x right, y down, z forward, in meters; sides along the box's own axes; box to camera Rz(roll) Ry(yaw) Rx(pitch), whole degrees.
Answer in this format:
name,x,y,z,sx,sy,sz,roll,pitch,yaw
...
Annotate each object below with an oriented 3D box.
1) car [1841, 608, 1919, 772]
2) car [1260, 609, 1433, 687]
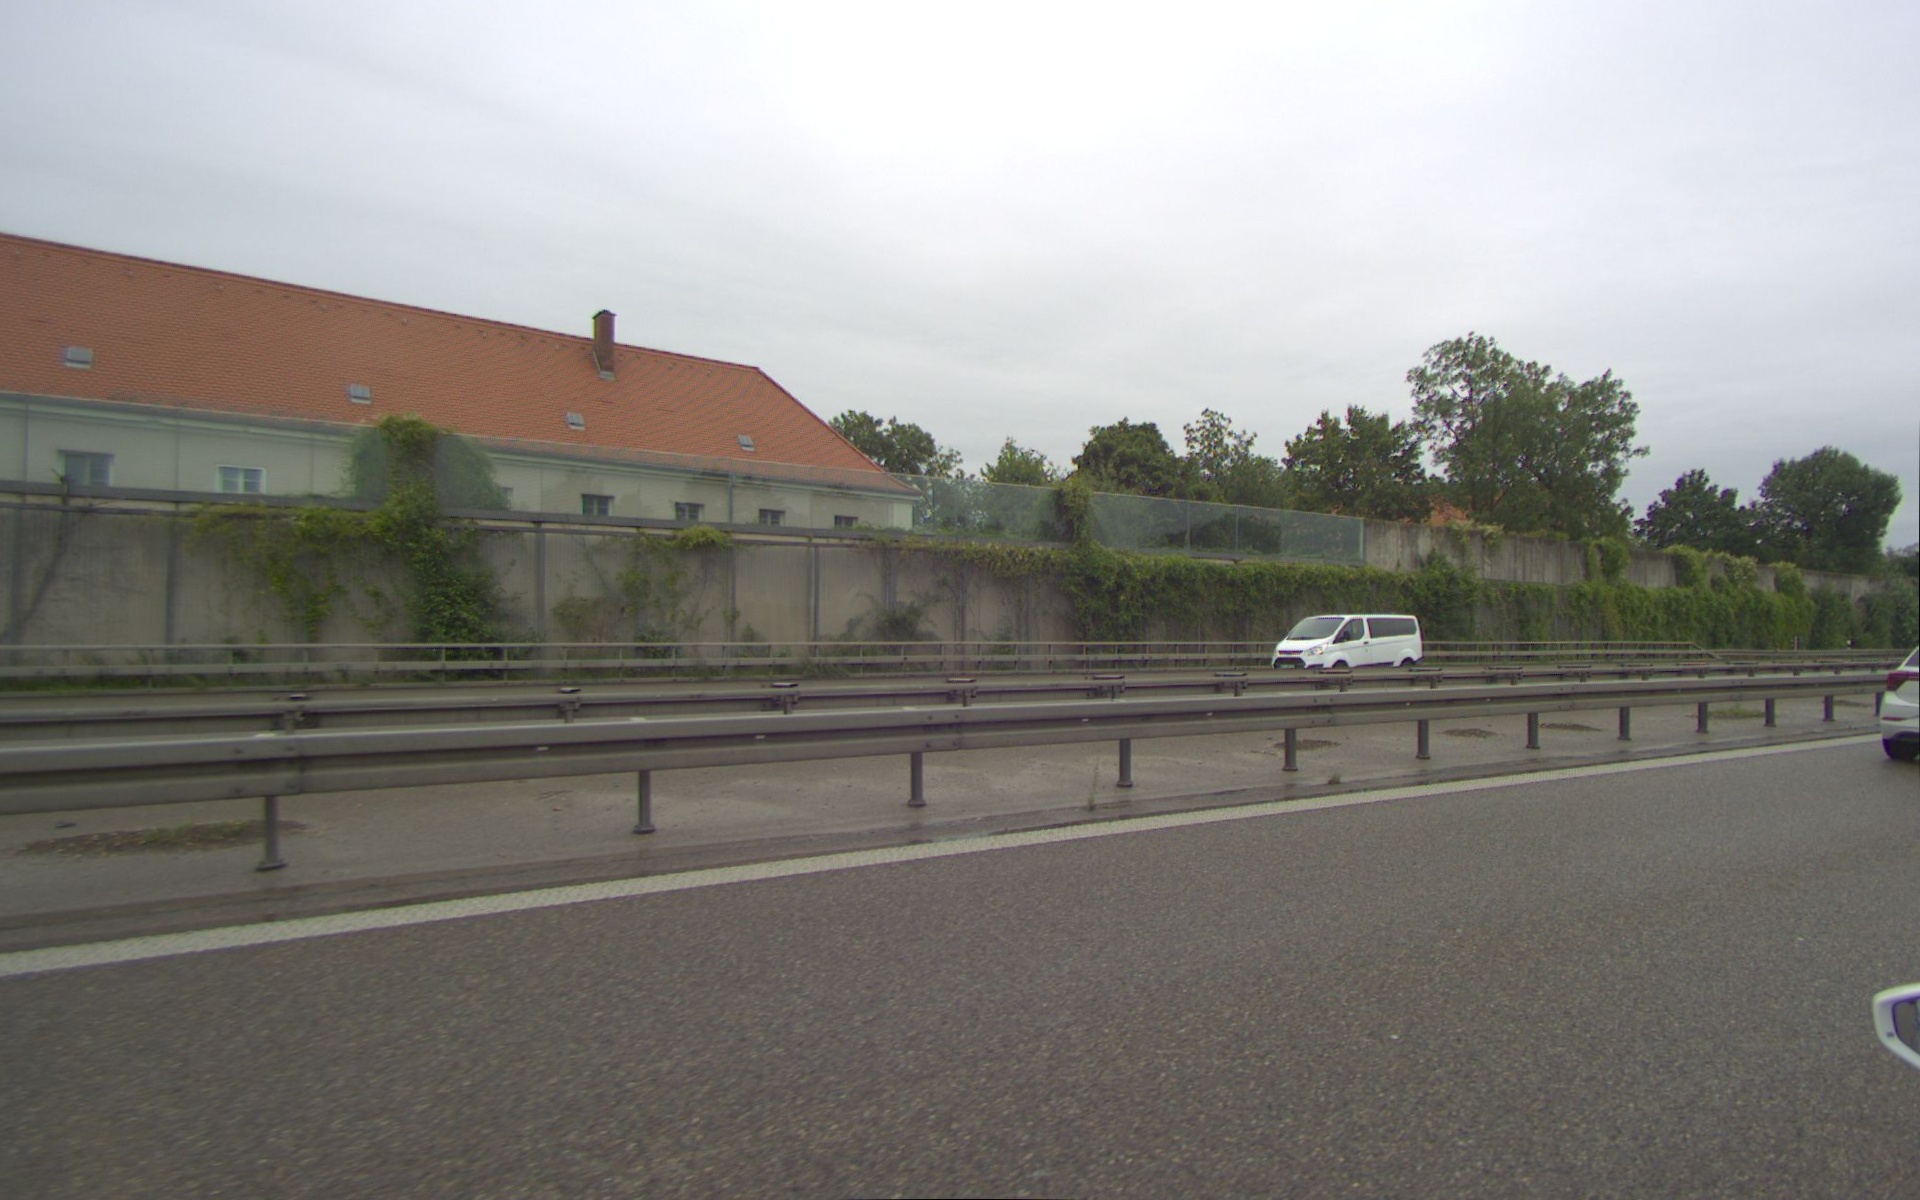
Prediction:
name,x,y,z,sx,sy,sz,roll,pitch,yaw
car,11.754,0.950,11.066,4.609,1.639,1.744,1,-1,-31
car,11.080,1.339,28.711,4.900,2.040,1.983,2,0,-31
